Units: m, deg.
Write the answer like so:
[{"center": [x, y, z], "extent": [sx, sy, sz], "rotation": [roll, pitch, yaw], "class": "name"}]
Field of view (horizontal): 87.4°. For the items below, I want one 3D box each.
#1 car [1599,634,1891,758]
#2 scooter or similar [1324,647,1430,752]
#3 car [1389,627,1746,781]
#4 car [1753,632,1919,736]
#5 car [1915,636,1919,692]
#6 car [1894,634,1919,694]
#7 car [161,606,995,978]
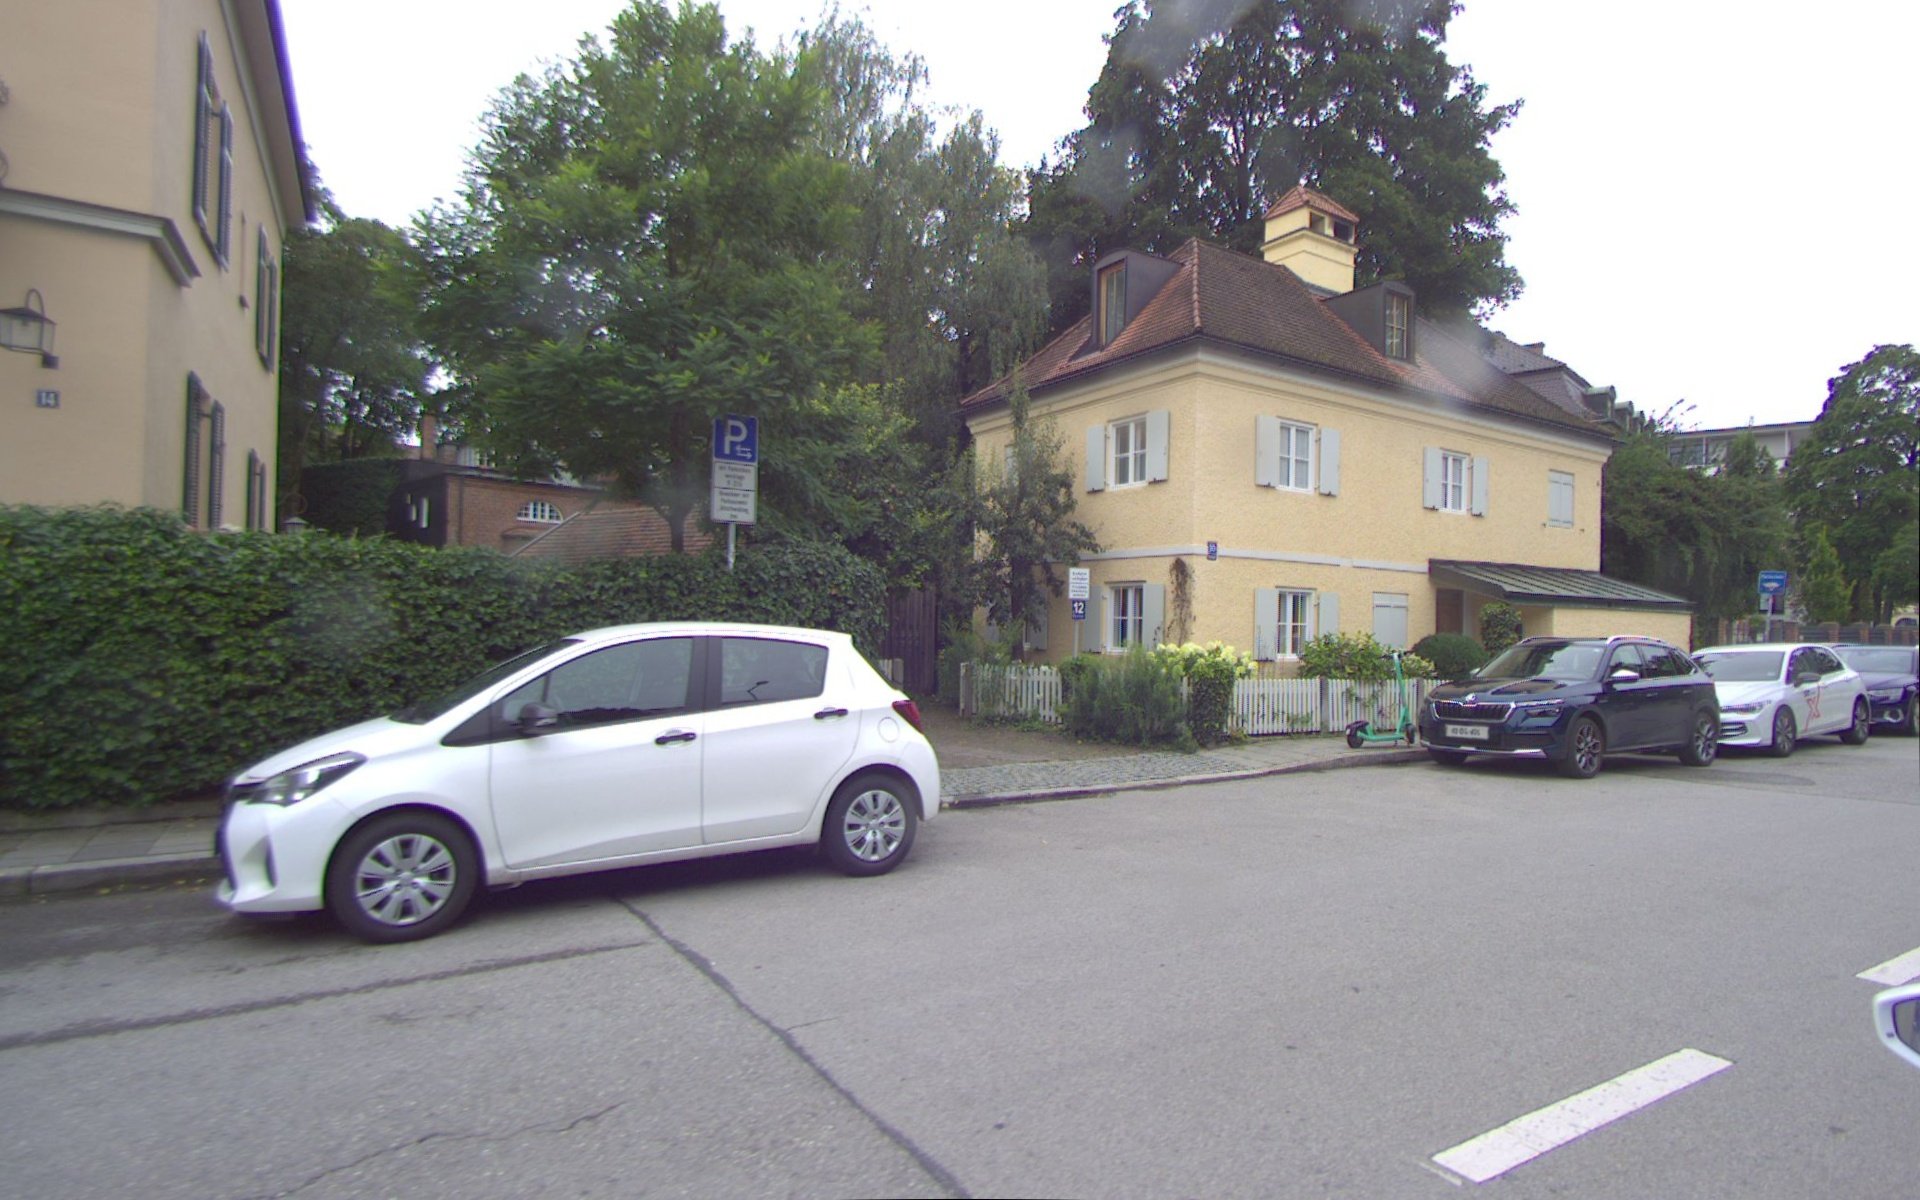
[{"center": [11.434, 1.299, 14.570], "extent": [4.469, 1.555, 1.836], "rotation": [1, -3, -31], "class": "car"}, {"center": [5.086, 1.184, 12.233], "extent": [1.355, 1.204, 0.450], "rotation": [1, 1, -31], "class": "scooter or similar"}, {"center": [7.365, 1.170, 12.092], "extent": [4.390, 1.555, 1.836], "rotation": [2, -4, -31], "class": "car"}, {"center": [15.577, 1.357, 17.114], "extent": [4.512, 1.555, 1.835], "rotation": [2, -4, -33], "class": "car"}, {"center": [29.352, 1.778, 27.337], "extent": [4.442, 1.614, 1.964], "rotation": [-1, -2, 26], "class": "car"}, {"center": [27.042, 1.727, 25.875], "extent": [1.921, 1.550, 4.288], "rotation": [4, -3, -44], "class": "car"}, {"center": [-2.013, 0.895, 6.091], "extent": [4.180, 1.555, 1.770], "rotation": [1, -3, -31], "class": "car"}]
